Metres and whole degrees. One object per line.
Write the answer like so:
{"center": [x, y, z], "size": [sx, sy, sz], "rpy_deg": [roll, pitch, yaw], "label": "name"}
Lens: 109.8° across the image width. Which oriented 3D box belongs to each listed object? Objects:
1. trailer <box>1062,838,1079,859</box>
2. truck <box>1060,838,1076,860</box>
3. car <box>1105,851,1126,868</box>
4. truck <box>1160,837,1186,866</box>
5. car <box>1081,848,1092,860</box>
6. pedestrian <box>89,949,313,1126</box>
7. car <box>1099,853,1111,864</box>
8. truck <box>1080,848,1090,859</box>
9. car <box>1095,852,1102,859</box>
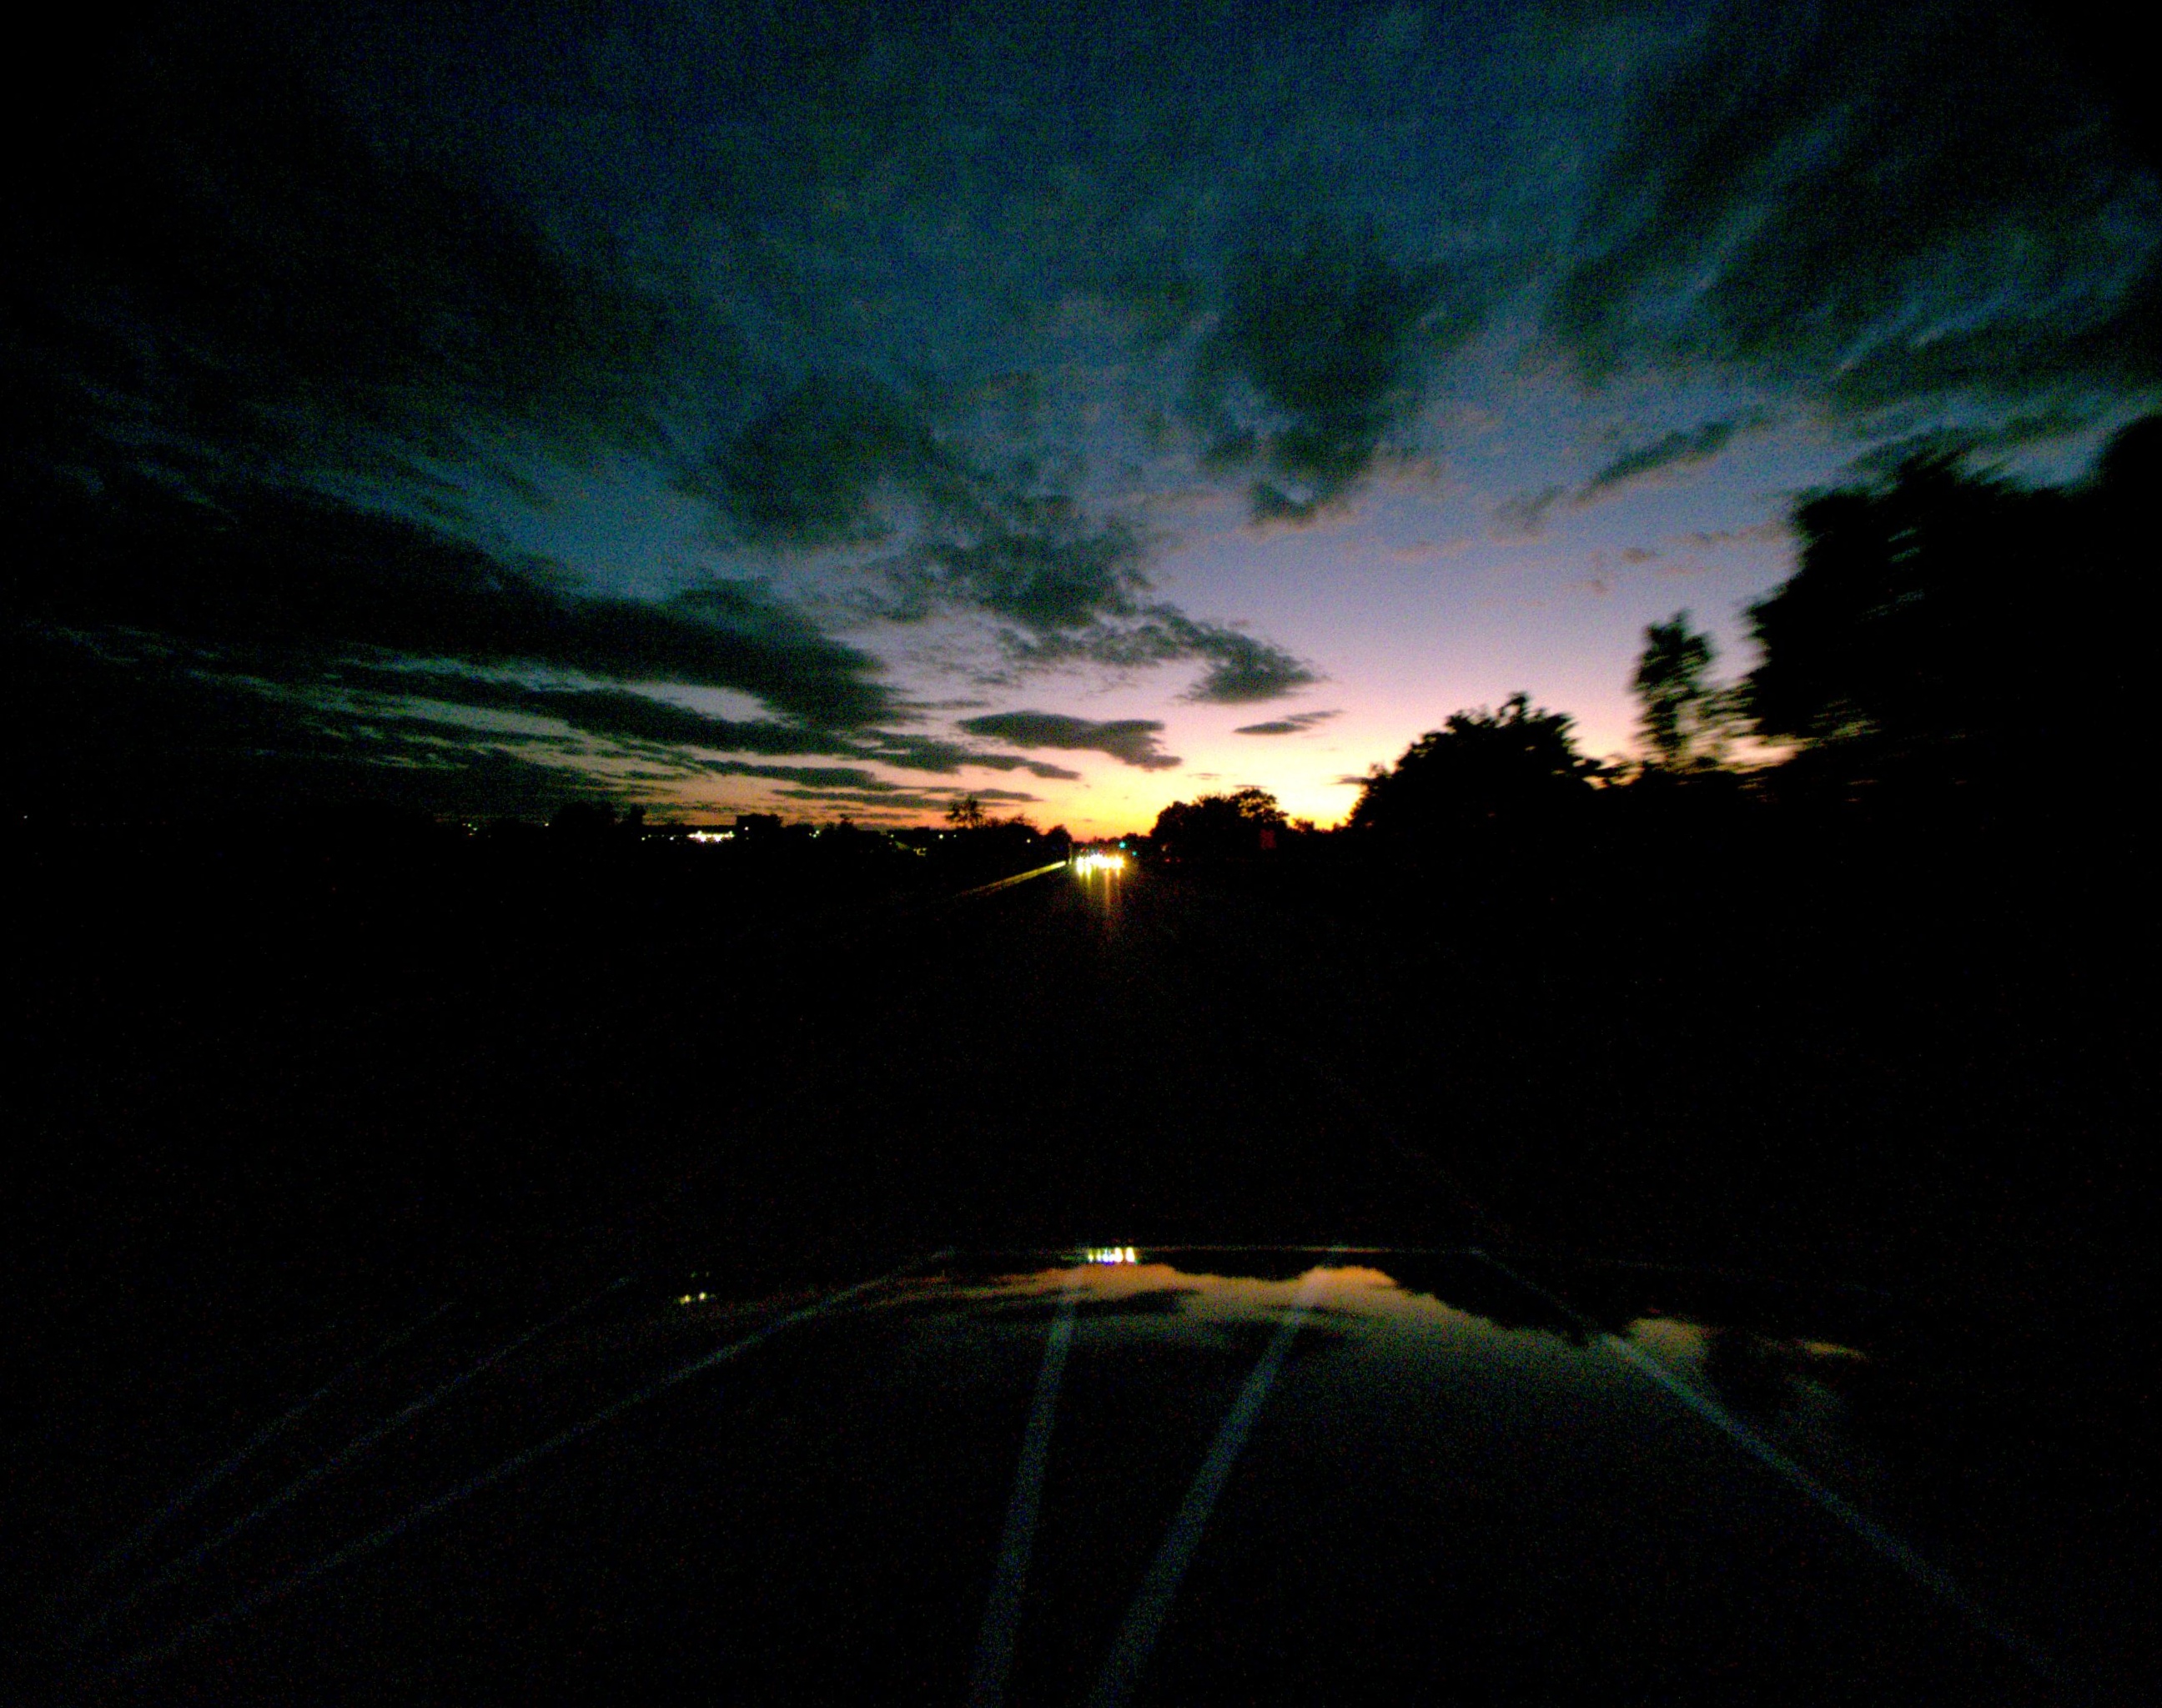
{"center": [-2.023, -1.047, 147.831], "size": [2.474, 3.789, 12.672], "rpy_deg": [-2, 1, 2], "label": "trailer"}
{"center": [-2.323, -0.916, 139.810], "size": [2.490, 3.778, 5.498], "rpy_deg": [-2, 1, 2], "label": "truck"}
{"center": [3.563, 0.546, 79.621], "size": [1.998, 1.635, 4.296], "rpy_deg": [-2, 1, 0], "label": "car"}
{"center": [17.357, -0.478, 144.427], "size": [3.210, 5.226, 12.607], "rpy_deg": [-1, 1, 0], "label": "truck"}
{"center": [0.934, -0.011, 130.076], "size": [1.741, 2.002, 4.000], "rpy_deg": [-2, 0, 0], "label": "car"}
{"center": [-9.546, 1.947, 8.312], "size": [1.064, 1.633, 1.118], "rpy_deg": [-2, 1, 1], "label": "pedestrian"}
{"center": [4.124, 0.837, 133.592], "size": [1.998, 1.778, 4.000], "rpy_deg": [-2, 1, 1], "label": "car"}
{"center": [1.229, -0.191, 251.378], "size": [3.016, 3.674, 9.056], "rpy_deg": [-2, 1, -1], "label": "truck"}
{"center": [5.170, 0.411, 226.820], "size": [1.998, 2.002, 4.000], "rpy_deg": [-2, 1, 2], "label": "car"}
